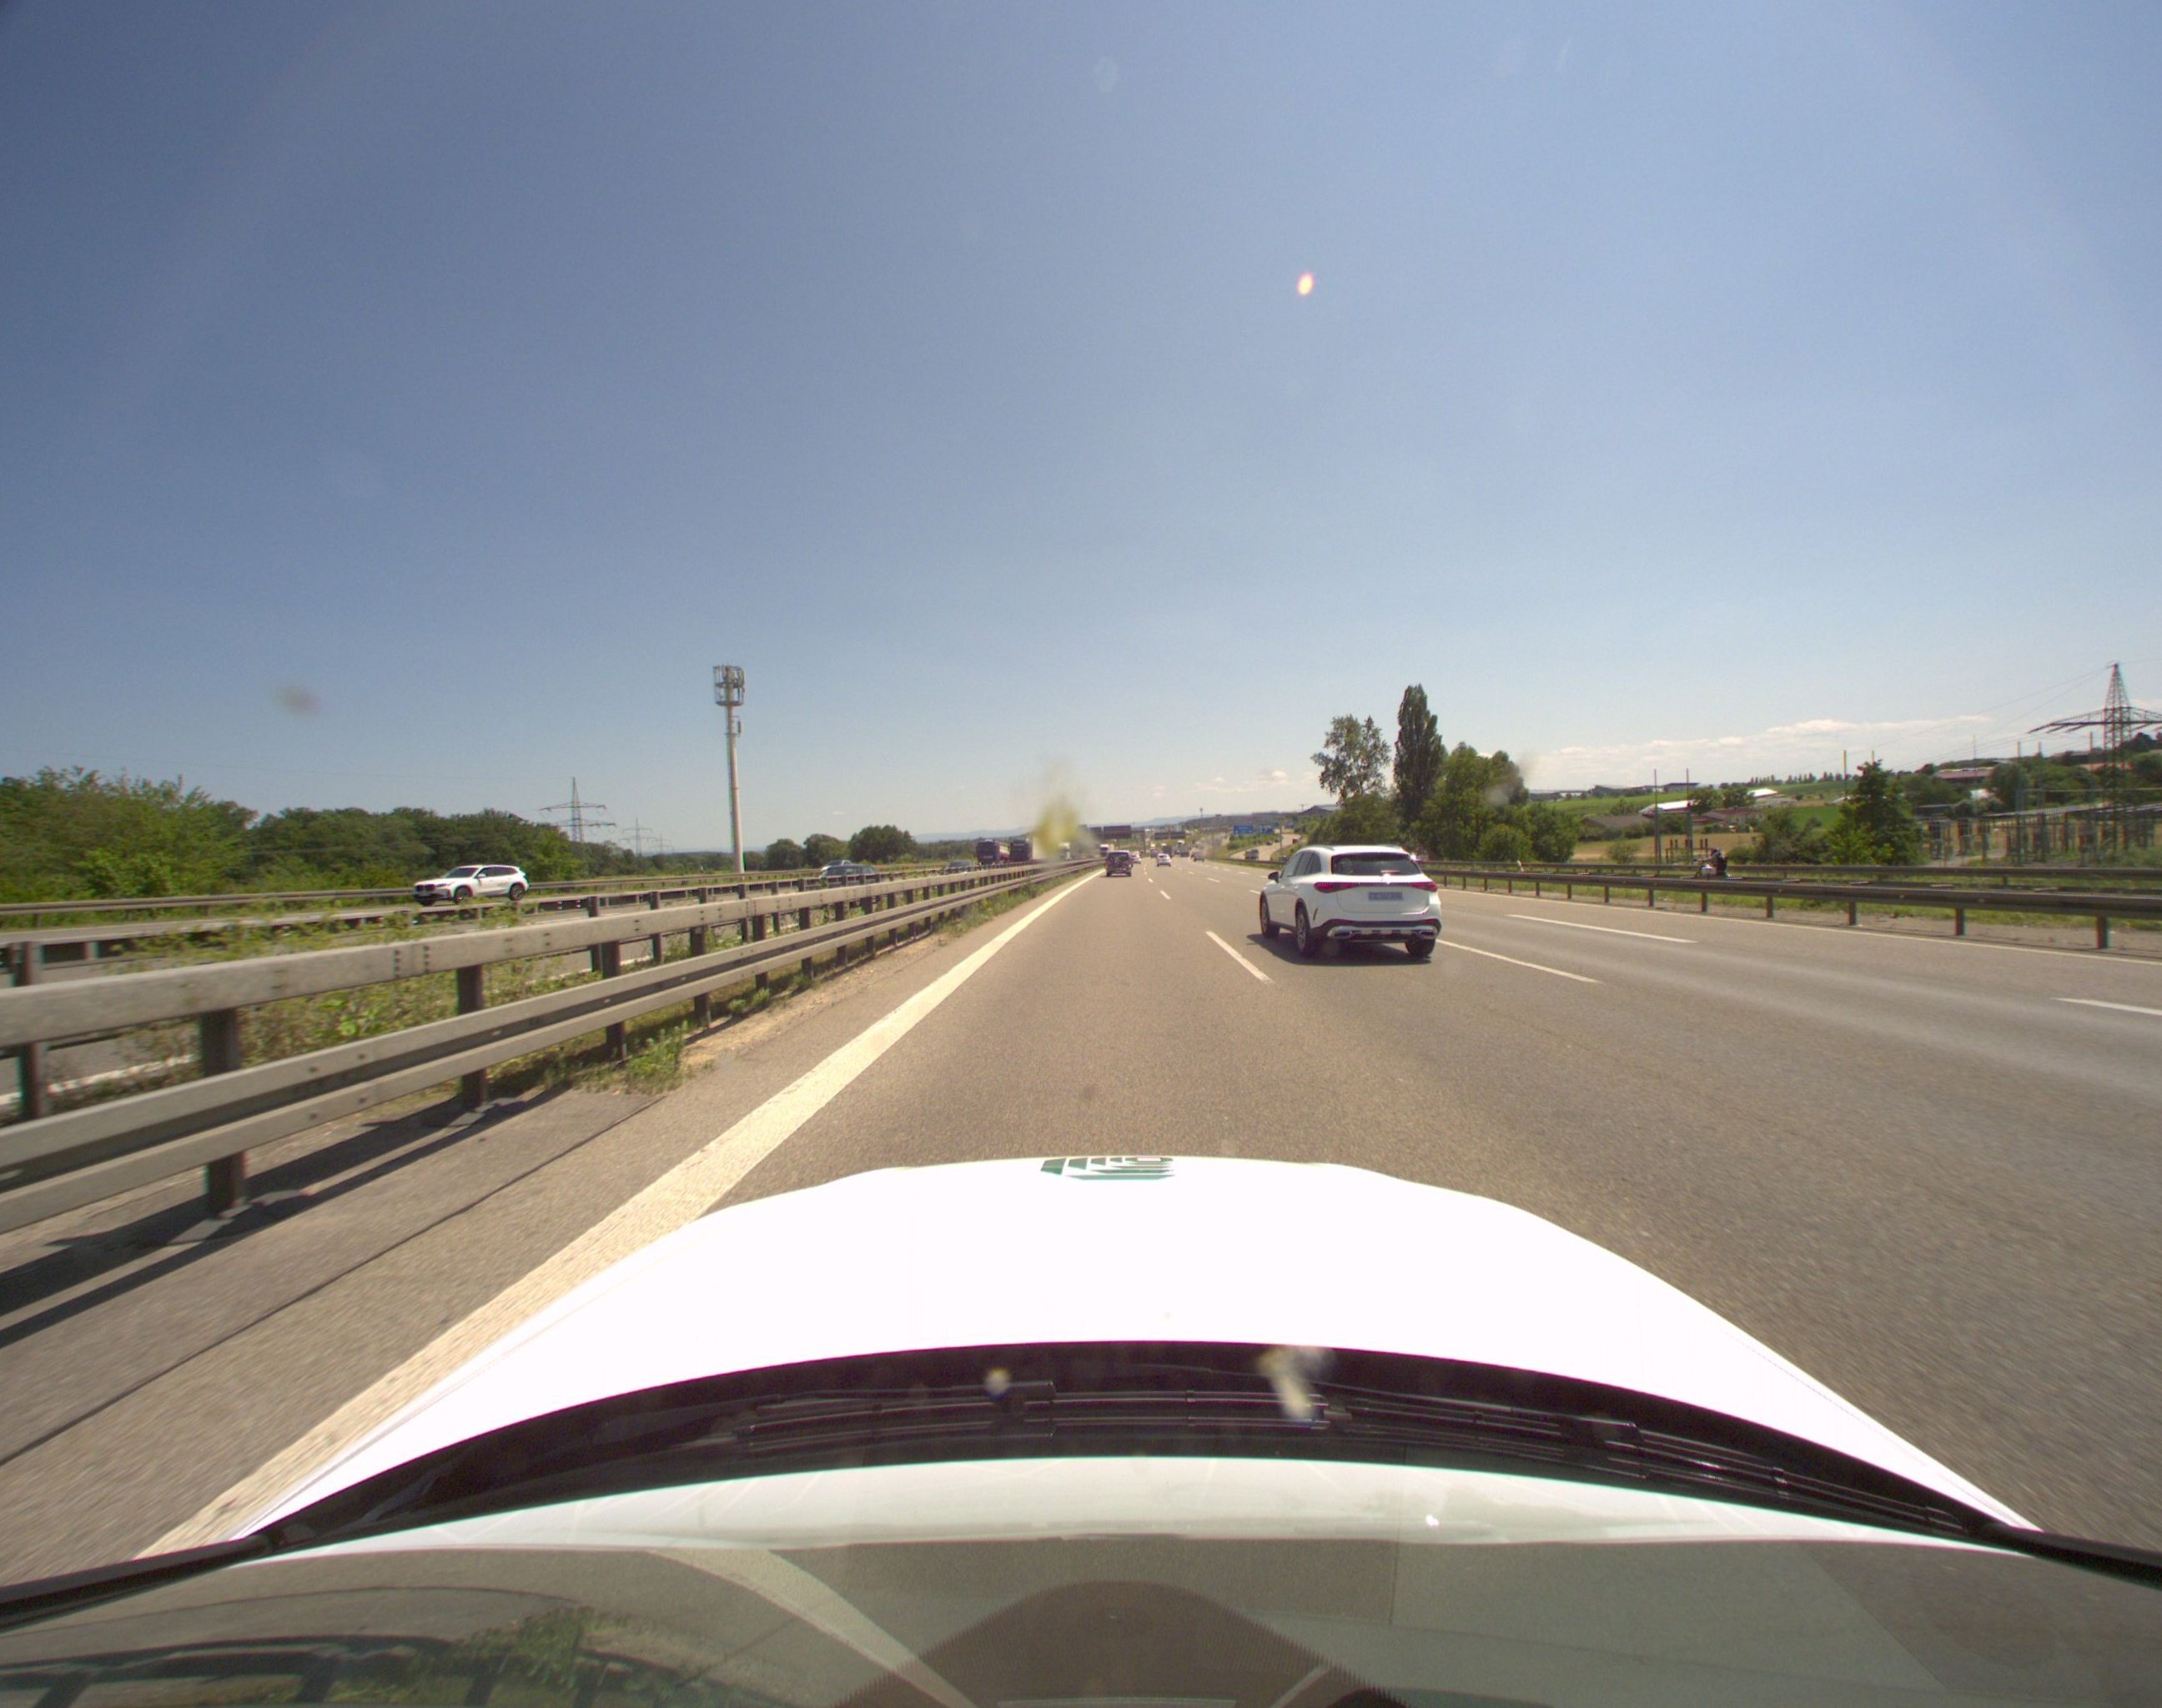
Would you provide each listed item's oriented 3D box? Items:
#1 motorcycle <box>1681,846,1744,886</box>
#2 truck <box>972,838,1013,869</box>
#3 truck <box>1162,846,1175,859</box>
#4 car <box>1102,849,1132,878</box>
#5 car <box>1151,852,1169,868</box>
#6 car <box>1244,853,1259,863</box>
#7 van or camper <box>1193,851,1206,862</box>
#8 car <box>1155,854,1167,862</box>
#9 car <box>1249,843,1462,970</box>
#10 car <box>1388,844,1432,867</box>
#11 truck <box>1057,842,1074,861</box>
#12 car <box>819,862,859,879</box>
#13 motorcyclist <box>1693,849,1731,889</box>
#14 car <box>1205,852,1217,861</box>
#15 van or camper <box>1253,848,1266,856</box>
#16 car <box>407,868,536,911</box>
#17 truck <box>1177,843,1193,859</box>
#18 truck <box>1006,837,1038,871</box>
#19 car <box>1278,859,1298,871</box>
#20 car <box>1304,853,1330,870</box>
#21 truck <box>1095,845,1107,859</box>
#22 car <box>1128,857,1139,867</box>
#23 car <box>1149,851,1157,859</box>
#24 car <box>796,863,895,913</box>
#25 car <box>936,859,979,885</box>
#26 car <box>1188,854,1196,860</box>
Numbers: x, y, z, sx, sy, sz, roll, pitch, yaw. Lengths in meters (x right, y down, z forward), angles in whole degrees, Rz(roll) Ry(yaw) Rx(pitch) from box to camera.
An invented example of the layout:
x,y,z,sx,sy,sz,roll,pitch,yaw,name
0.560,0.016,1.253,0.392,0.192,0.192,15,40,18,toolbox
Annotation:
x,y,z,sx,sy,sz,roll,pitch,yaw,name
22.198,0.410,28.686,0.757,1.366,1.869,-1,0,0,motorcycle
-11.431,-0.059,106.977,3.205,3.785,12.911,-1,0,3,truck
22.903,-0.396,213.871,2.686,3.108,10.687,-1,0,9,truck
2.596,0.644,57.758,1.918,1.919,4.954,-1,0,4,car
9.767,0.783,100.702,1.919,1.919,4.519,-1,0,2,car
33.794,0.817,161.492,1.987,2.014,3.999,-1,0,0,car
21.848,0.436,150.569,2.145,2.014,4.312,-1,0,6,van or camper
15.127,0.784,154.587,1.974,1.473,4.003,-2,0,3,car
4.155,0.704,13.312,1.891,1.647,5.000,-1,0,2,car
24.502,0.128,60.772,1.693,1.575,4.130,-1,0,2,car
-3.368,-0.525,176.420,2.867,4.117,6.393,-1,0,5,truck
-21.246,1.426,71.730,1.509,1.401,4.808,-1,0,8,car
22.199,0.523,28.663,0.666,1.366,0.879,-1,-1,1,motorcyclist
27.247,0.541,171.290,1.986,1.690,4.001,-1,0,1,car
44.984,-0.433,205.247,2.519,2.014,4.463,-1,0,2,van or camper
-25.884,1.468,34.793,1.667,1.613,4.415,-1,0,10,car
31.297,-1.102,244.656,4.015,4.261,11.789,-1,2,9,truck
-7.455,0.042,103.666,2.954,4.120,7.604,-1,0,3,truck
29.385,1.527,115.669,1.985,1.596,4.003,-1,0,3,car
27.629,0.820,95.490,1.931,1.923,4.182,-1,0,3,car
6.333,-0.591,256.931,3.019,4.240,6.697,-1,0,6,truck
8.261,1.265,127.047,1.568,1.552,3.970,-1,0,6,car
20.102,0.251,226.472,2.175,2.003,4.007,-1,0,6,car
-7.980,1.098,28.065,1.860,1.464,4.641,-1,0,3,car
-7.520,1.049,49.939,1.671,1.464,4.708,-1,0,3,car
29.779,0.850,217.985,1.984,1.690,4.006,-1,0,6,car
